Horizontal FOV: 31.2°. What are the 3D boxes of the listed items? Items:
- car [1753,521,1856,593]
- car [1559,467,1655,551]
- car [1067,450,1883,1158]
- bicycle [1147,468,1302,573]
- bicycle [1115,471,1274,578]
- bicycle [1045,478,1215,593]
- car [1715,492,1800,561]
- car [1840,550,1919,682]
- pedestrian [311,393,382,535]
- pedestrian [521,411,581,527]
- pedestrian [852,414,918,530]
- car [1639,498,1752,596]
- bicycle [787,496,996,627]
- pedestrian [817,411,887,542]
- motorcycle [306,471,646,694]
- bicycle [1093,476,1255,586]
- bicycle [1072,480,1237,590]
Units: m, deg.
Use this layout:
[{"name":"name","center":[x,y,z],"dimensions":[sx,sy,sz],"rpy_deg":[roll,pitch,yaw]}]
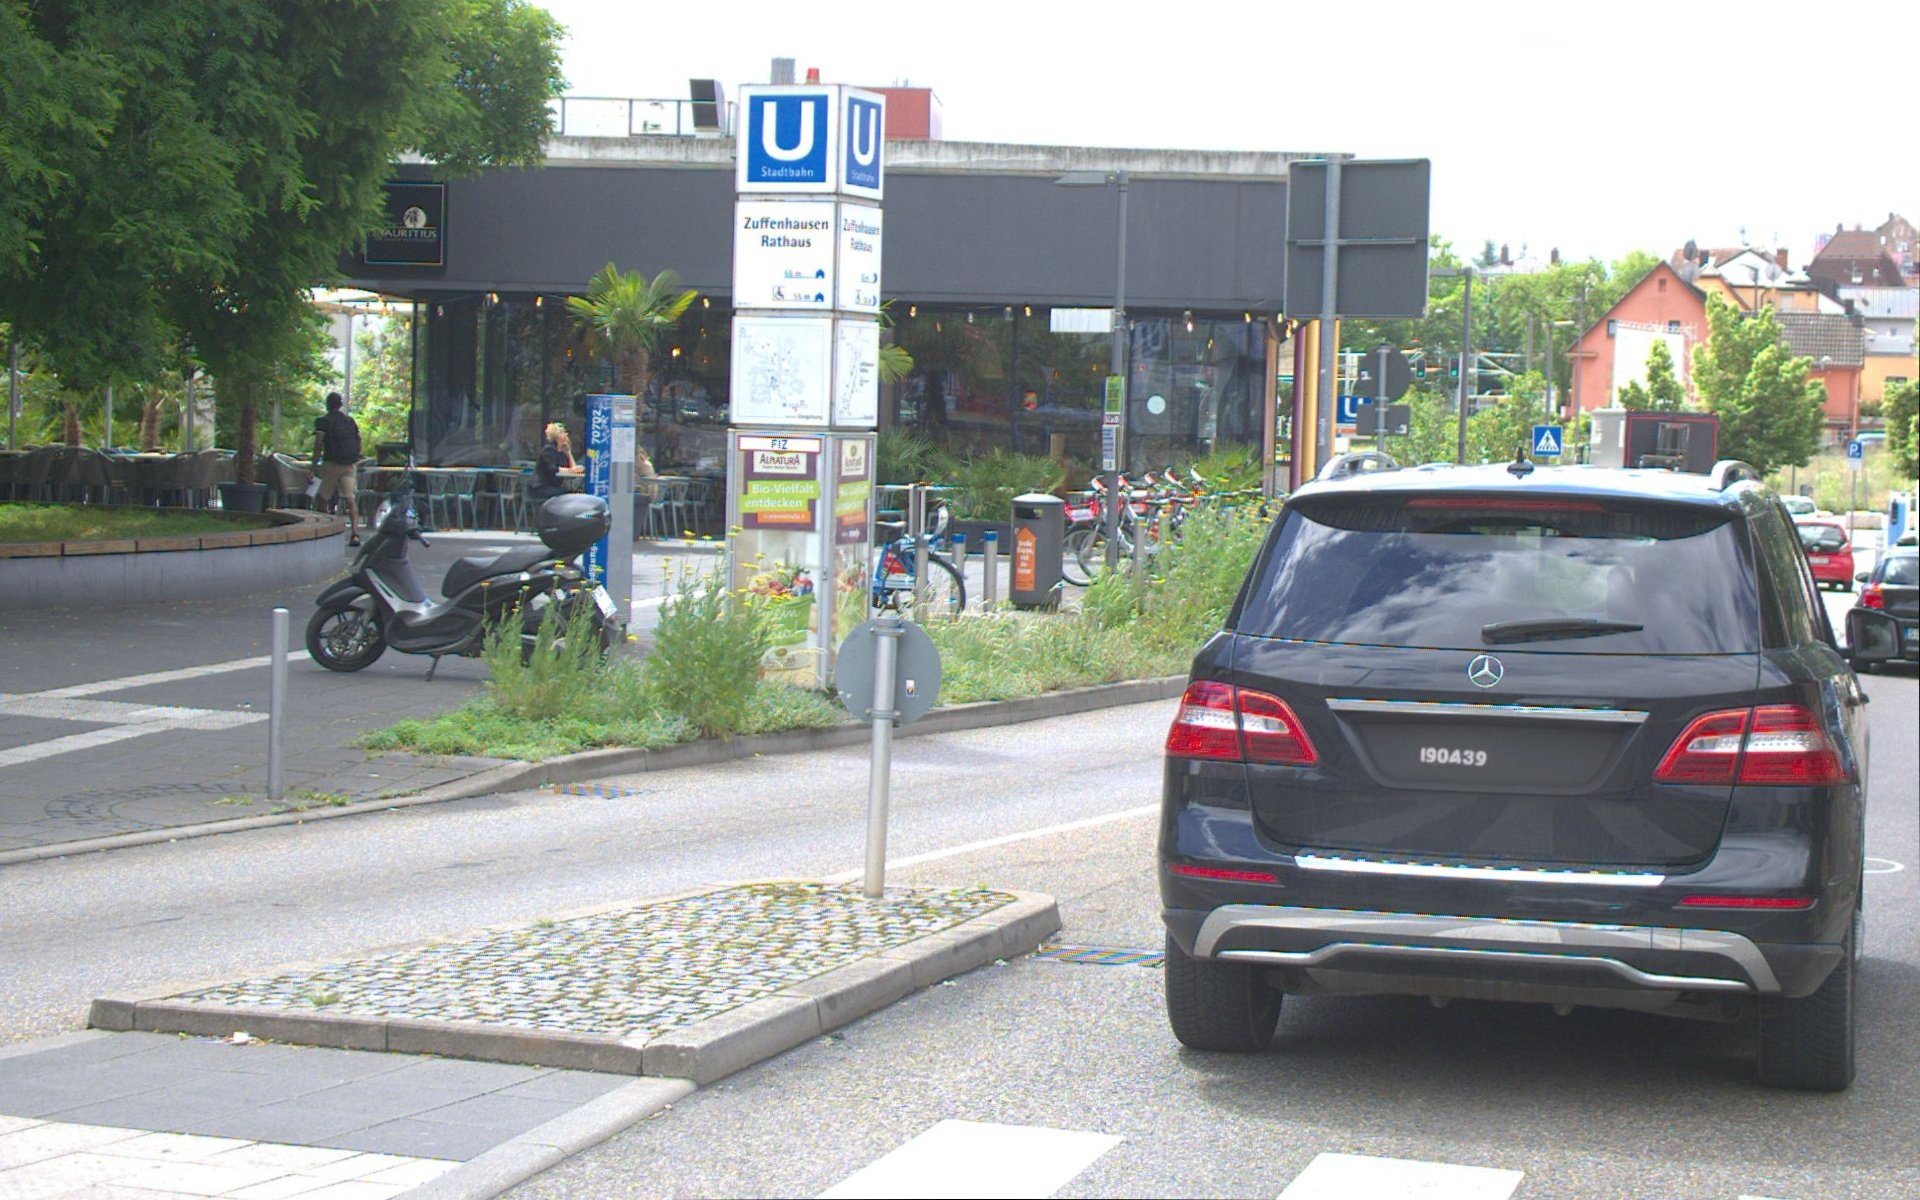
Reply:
[{"name":"car","center":[17.243,-0.901,70.303],"dimensions":[1.609,1.378,3.835],"rpy_deg":[2,2,8]},{"name":"car","center":[15.687,-2.242,83.541],"dimensions":[1.841,1.851,4.497],"rpy_deg":[5,3,6]},{"name":"car","center":[1.841,0.452,10.885],"dimensions":[2.029,1.721,4.430],"rpy_deg":[1,1,15]},{"name":"bicycle","center":[2.899,-0.871,37.657],"dimensions":[1.569,1.087,0.577],"rpy_deg":[2,2,18]},{"name":"bicycle","center":[2.507,-0.814,36.807],"dimensions":[1.569,1.087,0.577],"rpy_deg":[2,2,18]},{"name":"bicycle","center":[1.701,-0.653,34.440],"dimensions":[1.569,1.087,0.577],"rpy_deg":[2,2,18]},{"name":"car","center":[19.561,-1.826,84.433],"dimensions":[1.841,1.519,3.998],"rpy_deg":[5,3,12]},{"name":"car","center":[11.201,0.156,38.339],"dimensions":[1.611,1.378,3.830],"rpy_deg":[3,2,31]},{"name":"pedestrian","center":[-6.879,-1.523,38.573],"dimensions":[0.614,1.571,0.583],"rpy_deg":[2,2,6]},{"name":"pedestrian","center":[-4.936,-1.579,41.504],"dimensions":[0.581,1.375,0.616],"rpy_deg":[2,2,5]},{"name":"pedestrian","center":[-0.957,-1.627,43.821],"dimensions":[0.582,1.458,0.615],"rpy_deg":[2,2,26]},{"name":"car","center":[13.594,-1.004,63.388],"dimensions":[1.842,1.602,3.998],"rpy_deg":[5,3,13]},{"name":"bicycle","center":[-0.559,-0.323,27.925],"dimensions":[1.613,0.994,0.499],"rpy_deg":[3,2,24]},{"name":"pedestrian","center":[-1.355,-1.545,43.086],"dimensions":[0.581,1.613,0.616],"rpy_deg":[0,2,-37]},{"name":"motorcycle","center":[-3.159,-0.134,22.398],"dimensions":[2.134,1.284,0.582],"rpy_deg":[4,5,20]},{"name":"bicycle","center":[2.239,-0.729,35.967],"dimensions":[1.569,1.087,0.577],"rpy_deg":[2,2,18]},{"name":"bicycle","center":[1.991,-0.671,35.154],"dimensions":[1.569,1.065,0.538],"rpy_deg":[2,2,18]}]
